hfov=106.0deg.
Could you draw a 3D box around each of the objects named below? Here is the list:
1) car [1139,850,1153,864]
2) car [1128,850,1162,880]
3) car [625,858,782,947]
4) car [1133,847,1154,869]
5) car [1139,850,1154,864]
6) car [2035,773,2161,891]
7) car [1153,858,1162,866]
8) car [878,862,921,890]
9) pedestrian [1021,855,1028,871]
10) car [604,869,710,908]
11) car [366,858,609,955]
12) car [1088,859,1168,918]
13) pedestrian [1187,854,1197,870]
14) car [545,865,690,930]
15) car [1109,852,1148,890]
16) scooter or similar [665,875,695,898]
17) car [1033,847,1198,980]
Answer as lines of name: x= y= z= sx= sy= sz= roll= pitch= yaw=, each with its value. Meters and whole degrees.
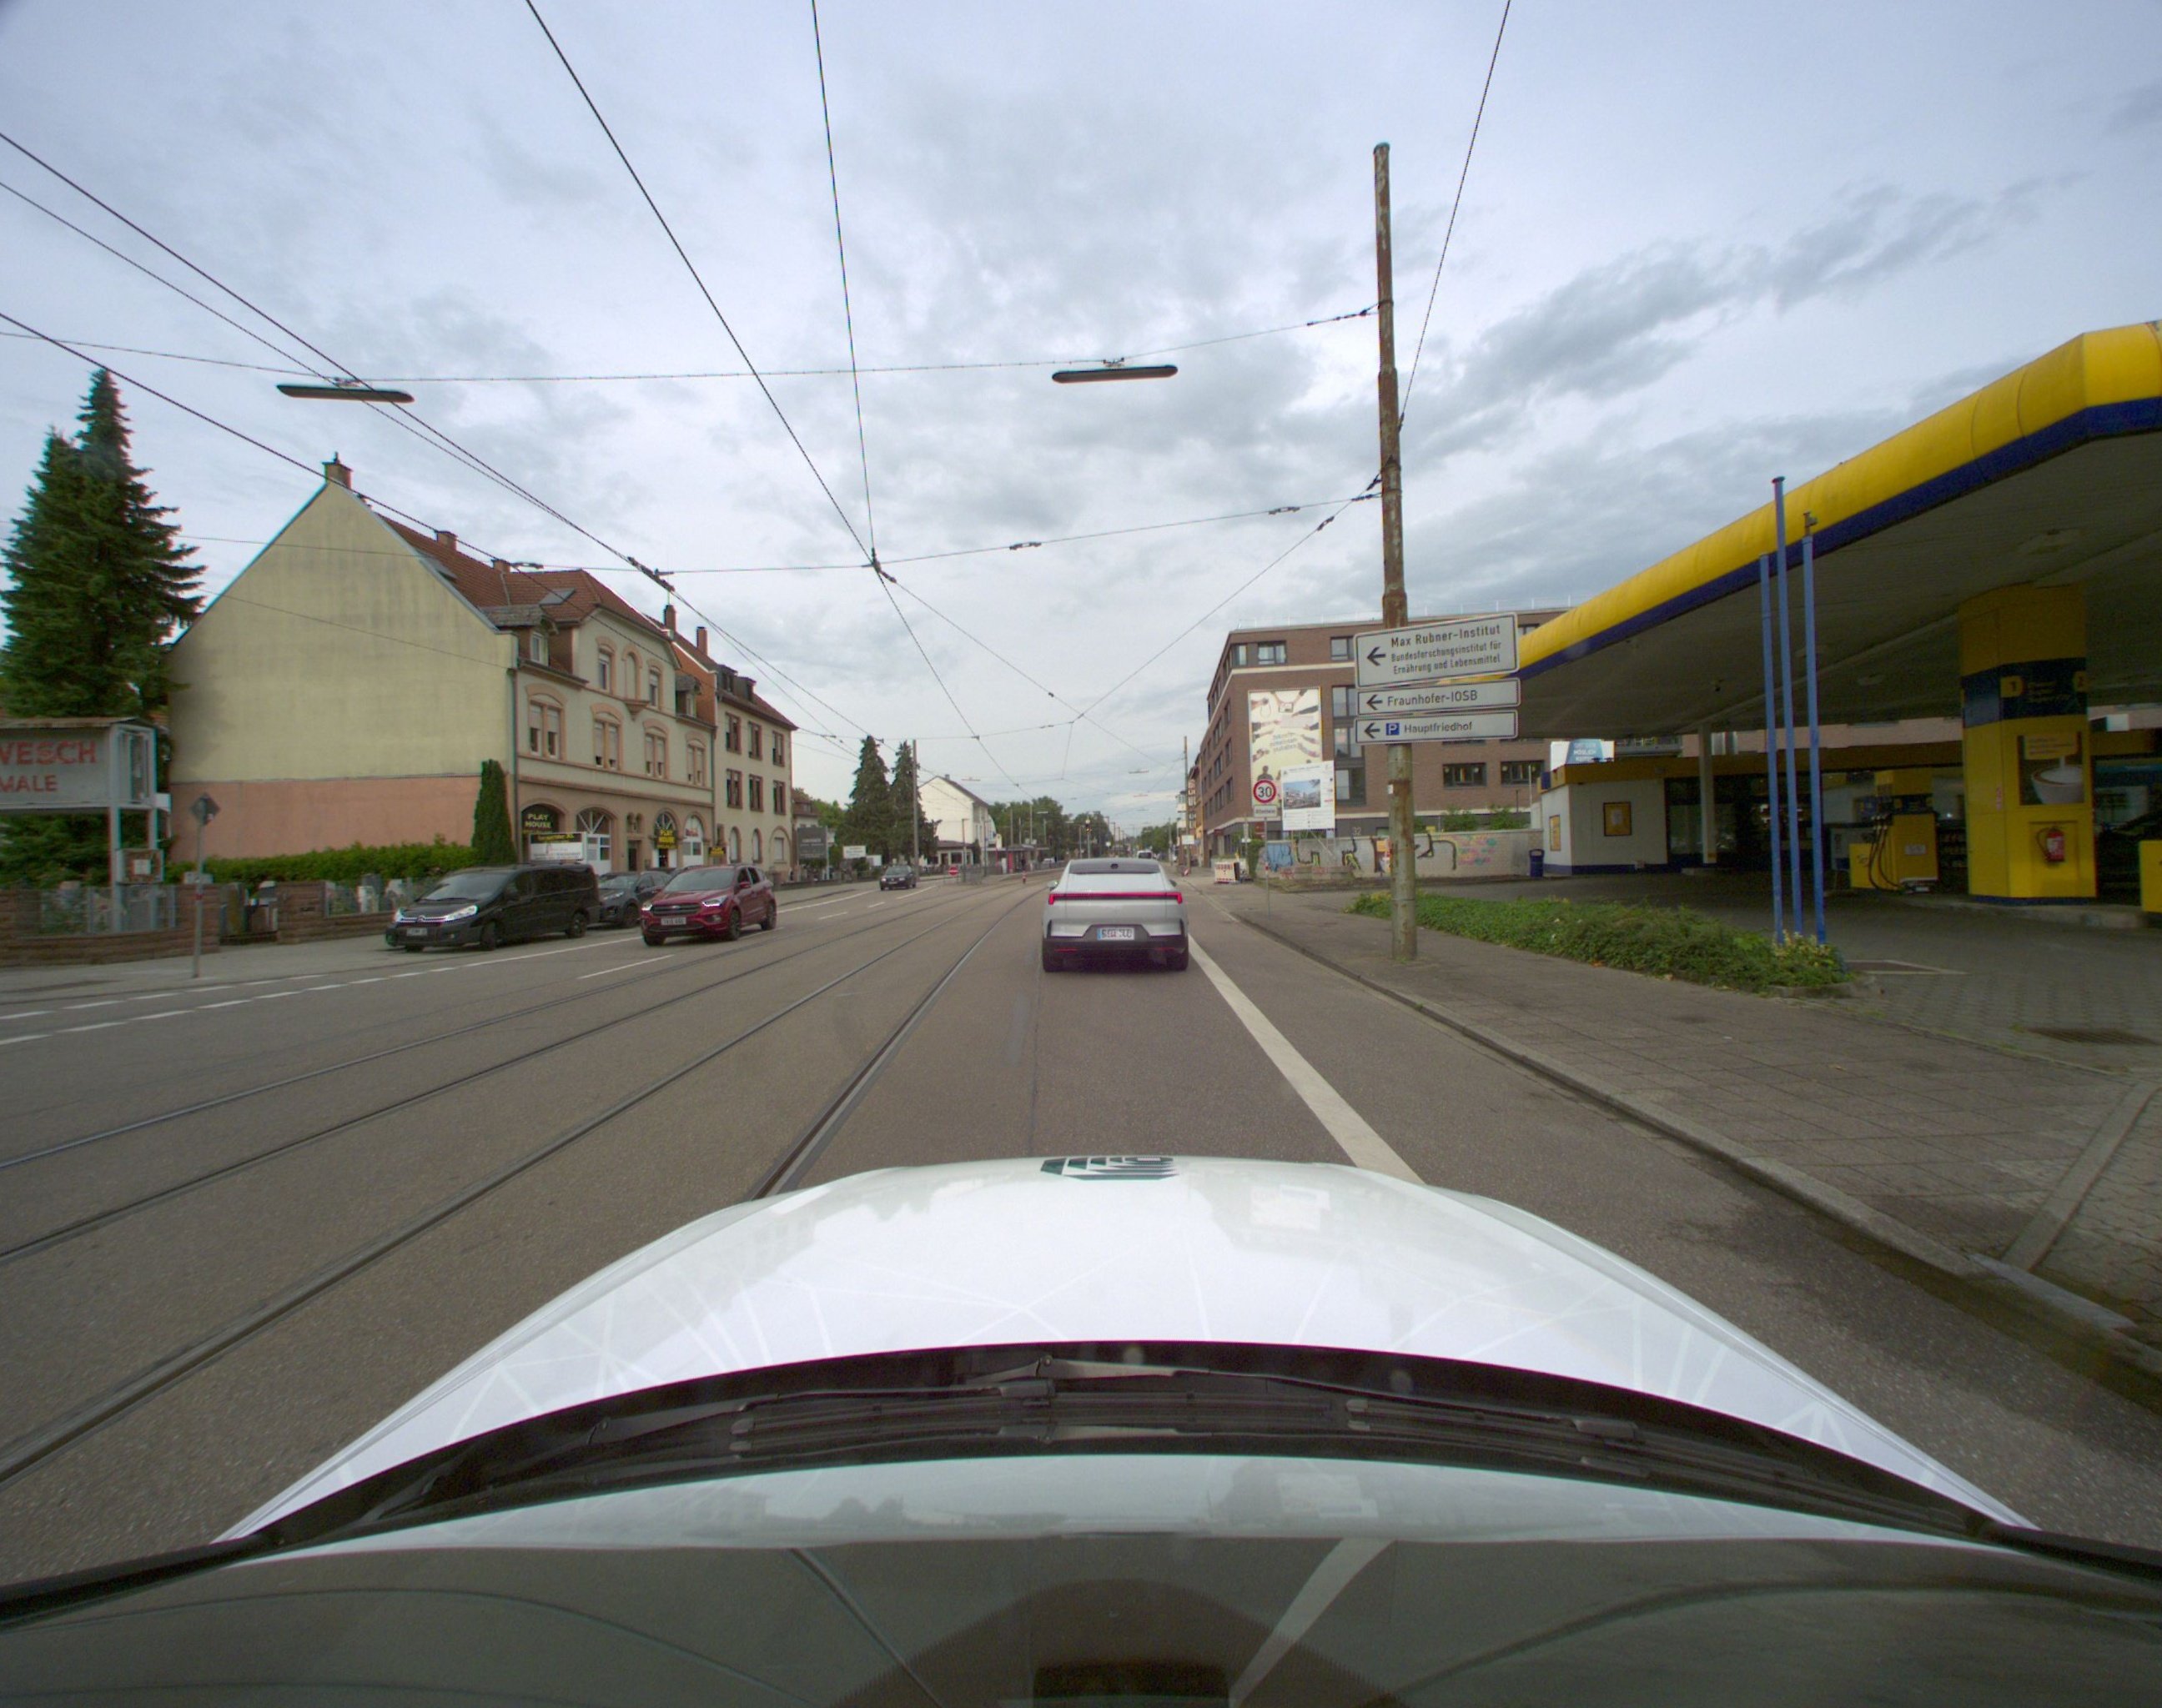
car: x=10.185 y=0.478 z=127.011 sx=1.986 sy=2.014 sz=4.001 roll=-1 pitch=-1 yaw=2
car: x=4.175 y=0.675 z=53.474 sx=1.986 sy=1.816 sz=4.001 roll=-2 pitch=0 yaw=2
car: x=-8.353 y=0.992 z=18.494 sx=1.839 sy=1.724 sz=4.398 roll=-2 pitch=-1 yaw=-6
car: x=7.306 y=0.480 z=95.408 sx=2.218 sy=2.402 sz=5.124 roll=-1 pitch=-1 yaw=2
car: x=9.432 y=0.455 z=117.430 sx=1.986 sy=2.014 sz=4.001 roll=-1 pitch=-1 yaw=2
car: x=19.322 y=-0.408 z=14.002 sx=1.803 sy=1.988 sz=4.274 roll=-3 pitch=-1 yaw=19
car: x=18.262 y=1.954 z=194.716 sx=1.986 sy=2.014 sz=4.001 roll=-1 pitch=-1 yaw=2
car: x=-11.050 y=1.324 z=49.712 sx=1.786 sy=1.530 sz=4.136 roll=-4 pitch=-1 yaw=-3
pedestrian: x=-6.021 y=0.944 z=86.760 sx=0.612 sy=1.664 sz=0.699 roll=-1 pitch=-1 yaw=8
car: x=-18.227 y=1.421 z=35.290 sx=1.987 sy=1.493 sz=4.902 roll=-1 pitch=-1 yaw=0
car: x=-13.761 y=1.110 z=19.421 sx=1.981 sy=2.014 sz=5.182 roll=0 pitch=-1 yaw=-1
car: x=1.337 y=0.898 z=22.945 sx=1.985 sy=1.420 sz=4.004 roll=-2 pitch=0 yaw=4
pedestrian: x=13.534 y=0.960 z=99.335 sx=0.954 sy=1.850 sz=0.978 roll=-4 pitch=0 yaw=11
car: x=-14.204 y=1.271 z=25.322 sx=2.032 sy=1.749 sz=4.531 roll=0 pitch=0 yaw=-2
car: x=2.262 y=0.773 z=38.184 sx=1.673 sy=1.687 sz=3.829 roll=-1 pitch=-1 yaw=5
scooter or similar: x=-19.467 y=1.578 z=39.574 sx=1.172 sy=1.102 sz=0.527 roll=1 pitch=-1 yaw=-4
car: x=0.444 y=0.749 z=11.896 sx=1.992 sy=1.581 sz=4.000 roll=-1 pitch=-1 yaw=1
